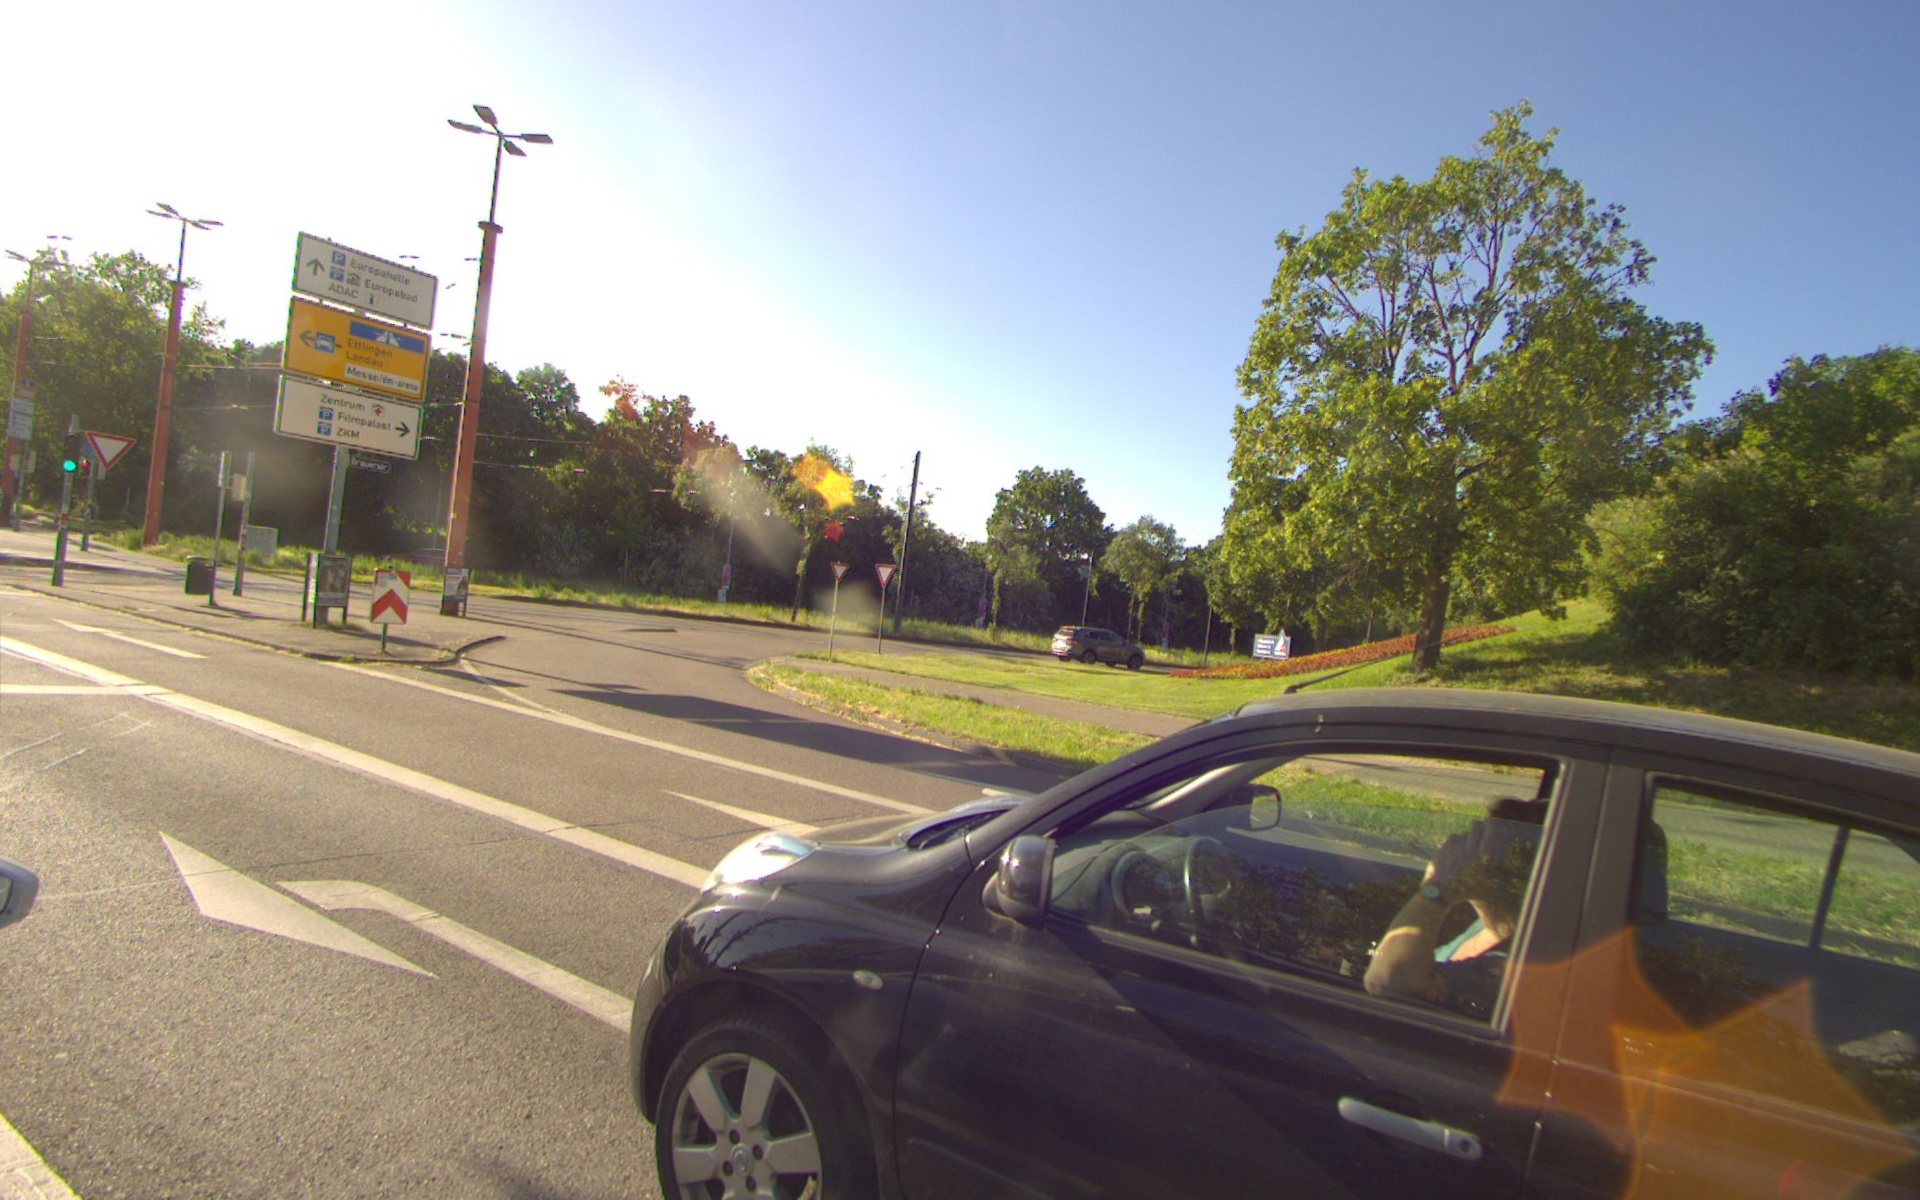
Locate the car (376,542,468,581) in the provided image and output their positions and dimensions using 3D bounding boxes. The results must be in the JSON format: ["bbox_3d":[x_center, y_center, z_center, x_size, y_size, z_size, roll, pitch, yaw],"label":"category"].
[{"bbox_3d":[-29.373,-2.090,54.927,4.245,1.513,1.983,8,0,-32],"label":"car"}]

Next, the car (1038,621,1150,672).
[{"bbox_3d":[6.096,2.115,45.497,4.641,1.724,1.985,8,-1,-29],"label":"car"}]

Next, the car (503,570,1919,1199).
[{"bbox_3d":[1.285,0.971,2.144,4.545,1.500,1.738,7,-1,31],"label":"car"}]
